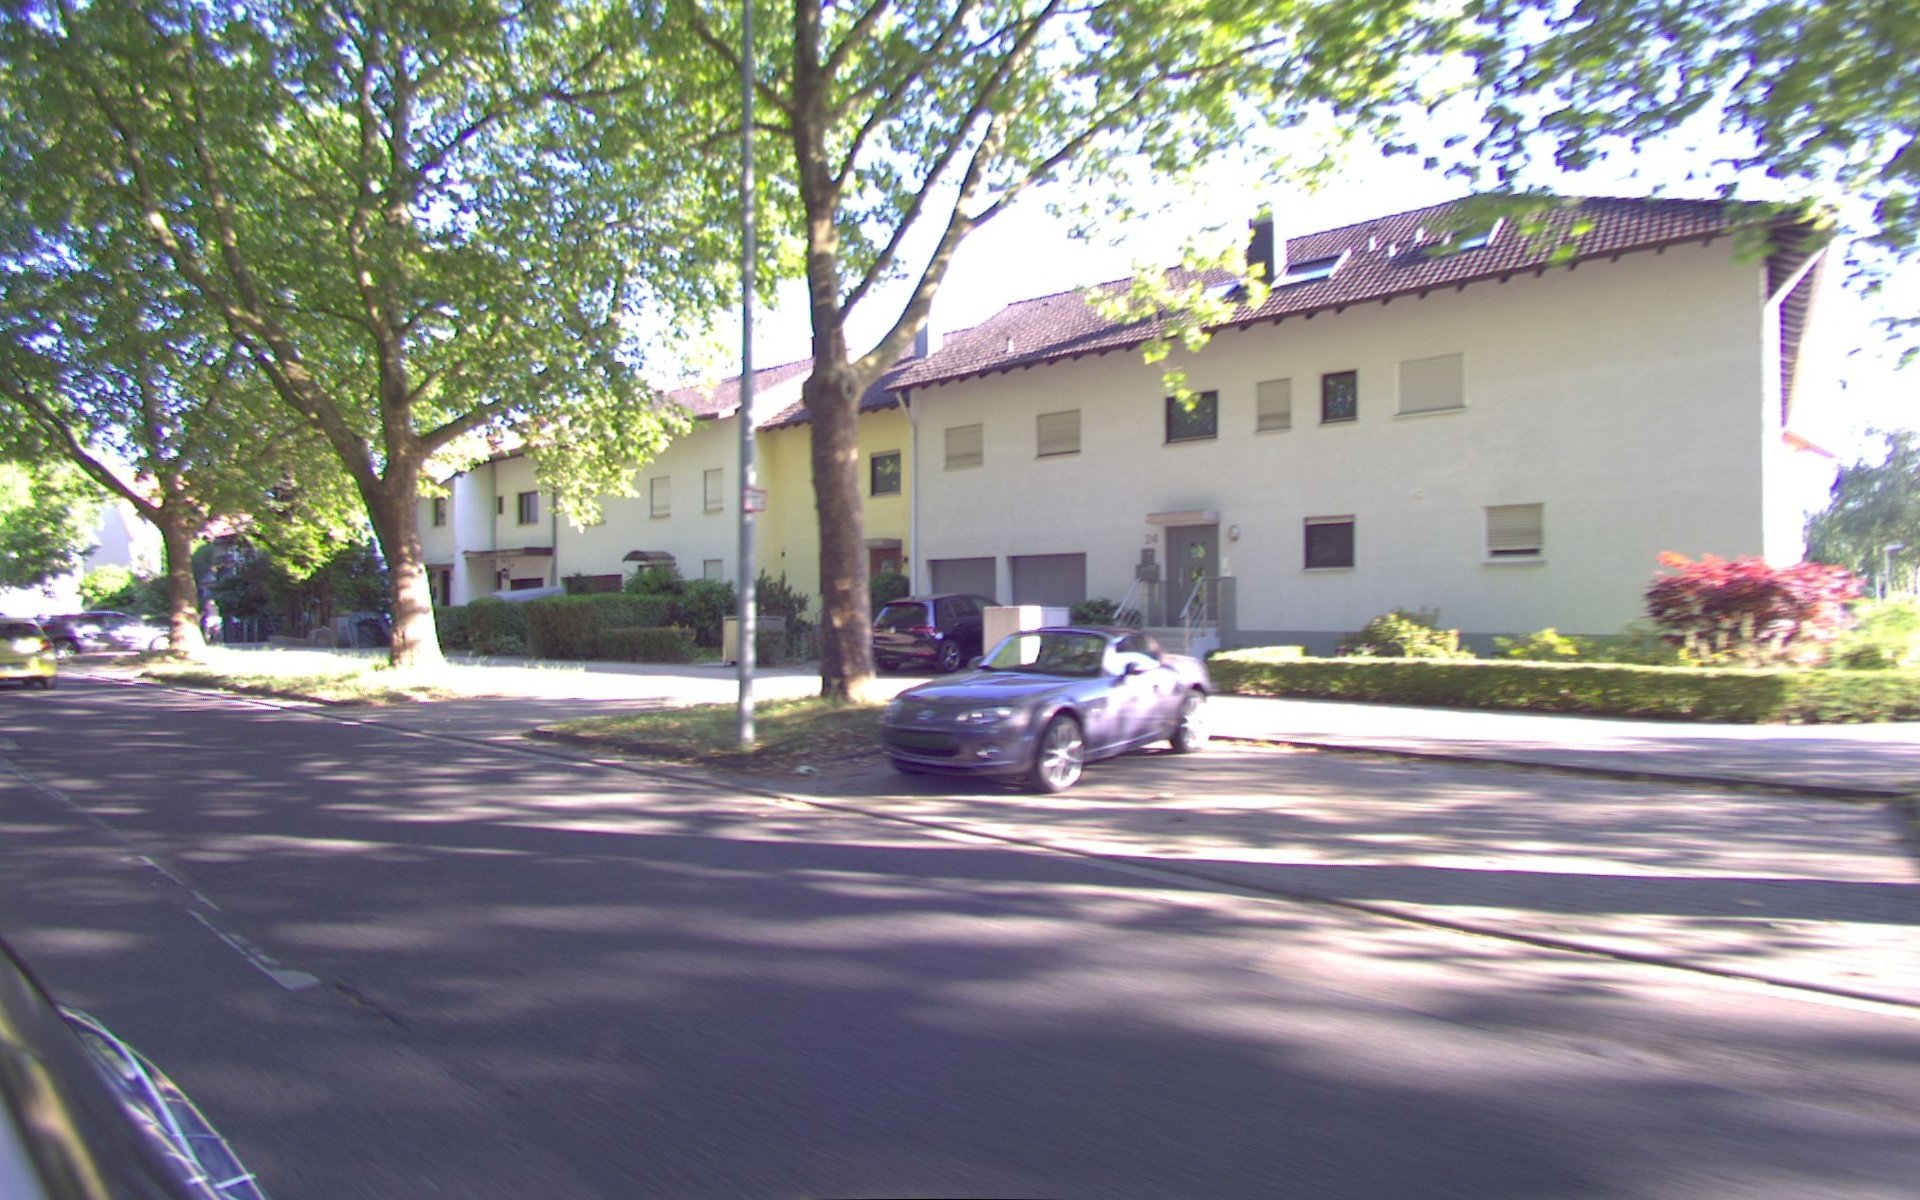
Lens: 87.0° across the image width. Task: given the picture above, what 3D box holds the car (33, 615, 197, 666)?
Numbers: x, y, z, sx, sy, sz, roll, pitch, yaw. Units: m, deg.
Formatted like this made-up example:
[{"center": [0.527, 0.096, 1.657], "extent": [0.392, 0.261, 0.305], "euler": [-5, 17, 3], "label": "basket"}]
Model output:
[{"center": [-28.432, 1.321, 34.136], "extent": [1.815, 1.530, 3.950], "euler": [-1, 0, 38], "label": "car"}]

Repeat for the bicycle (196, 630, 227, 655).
[{"center": [-28.350, 1.597, 38.314], "extent": [2.154, 0.887, 0.465], "euler": [-1, -1, 40], "label": "bicycle"}]

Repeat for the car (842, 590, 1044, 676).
[{"center": [-0.252, 0.619, 20.326], "extent": [1.900, 1.475, 3.947], "euler": [-3, -1, 40], "label": "car"}]

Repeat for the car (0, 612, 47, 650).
[{"center": [-47.387, 1.530, 49.033], "extent": [1.991, 1.838, 4.348], "euler": [-1, 0, 34], "label": "car"}]

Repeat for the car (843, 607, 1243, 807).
[{"center": [0.931, 0.779, 9.200], "extent": [1.788, 1.326, 3.788], "euler": [-1, 0, 39], "label": "car"}]

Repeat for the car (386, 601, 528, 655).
[{"center": [-17.597, 0.934, 35.543], "extent": [1.998, 1.487, 3.949], "euler": [-1, 3, 39], "label": "car"}]

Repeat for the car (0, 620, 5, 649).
[{"center": [-53.255, 1.889, 53.622], "extent": [1.778, 1.528, 3.609], "euler": [-1, 0, 36], "label": "car"}]

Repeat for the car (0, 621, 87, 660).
[{"center": [-39.528, 1.684, 42.681], "extent": [1.661, 1.530, 3.839], "euler": [-1, 0, 34], "label": "car"}]

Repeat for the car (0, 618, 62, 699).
[{"center": [-19.635, 1.139, 20.451], "extent": [3.836, 1.524, 1.765], "euler": [-1, 0, 41], "label": "car"}]

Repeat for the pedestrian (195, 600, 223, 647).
[{"center": [-28.448, 0.880, 38.322], "extent": [1.064, 1.729, 0.610], "euler": [-1, -1, 40], "label": "pedestrian"}]

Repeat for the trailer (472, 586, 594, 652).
[{"center": [-14.689, 0.630, 34.952], "extent": [1.641, 1.940, 3.422], "euler": [-3, 2, 38], "label": "trailer"}]
